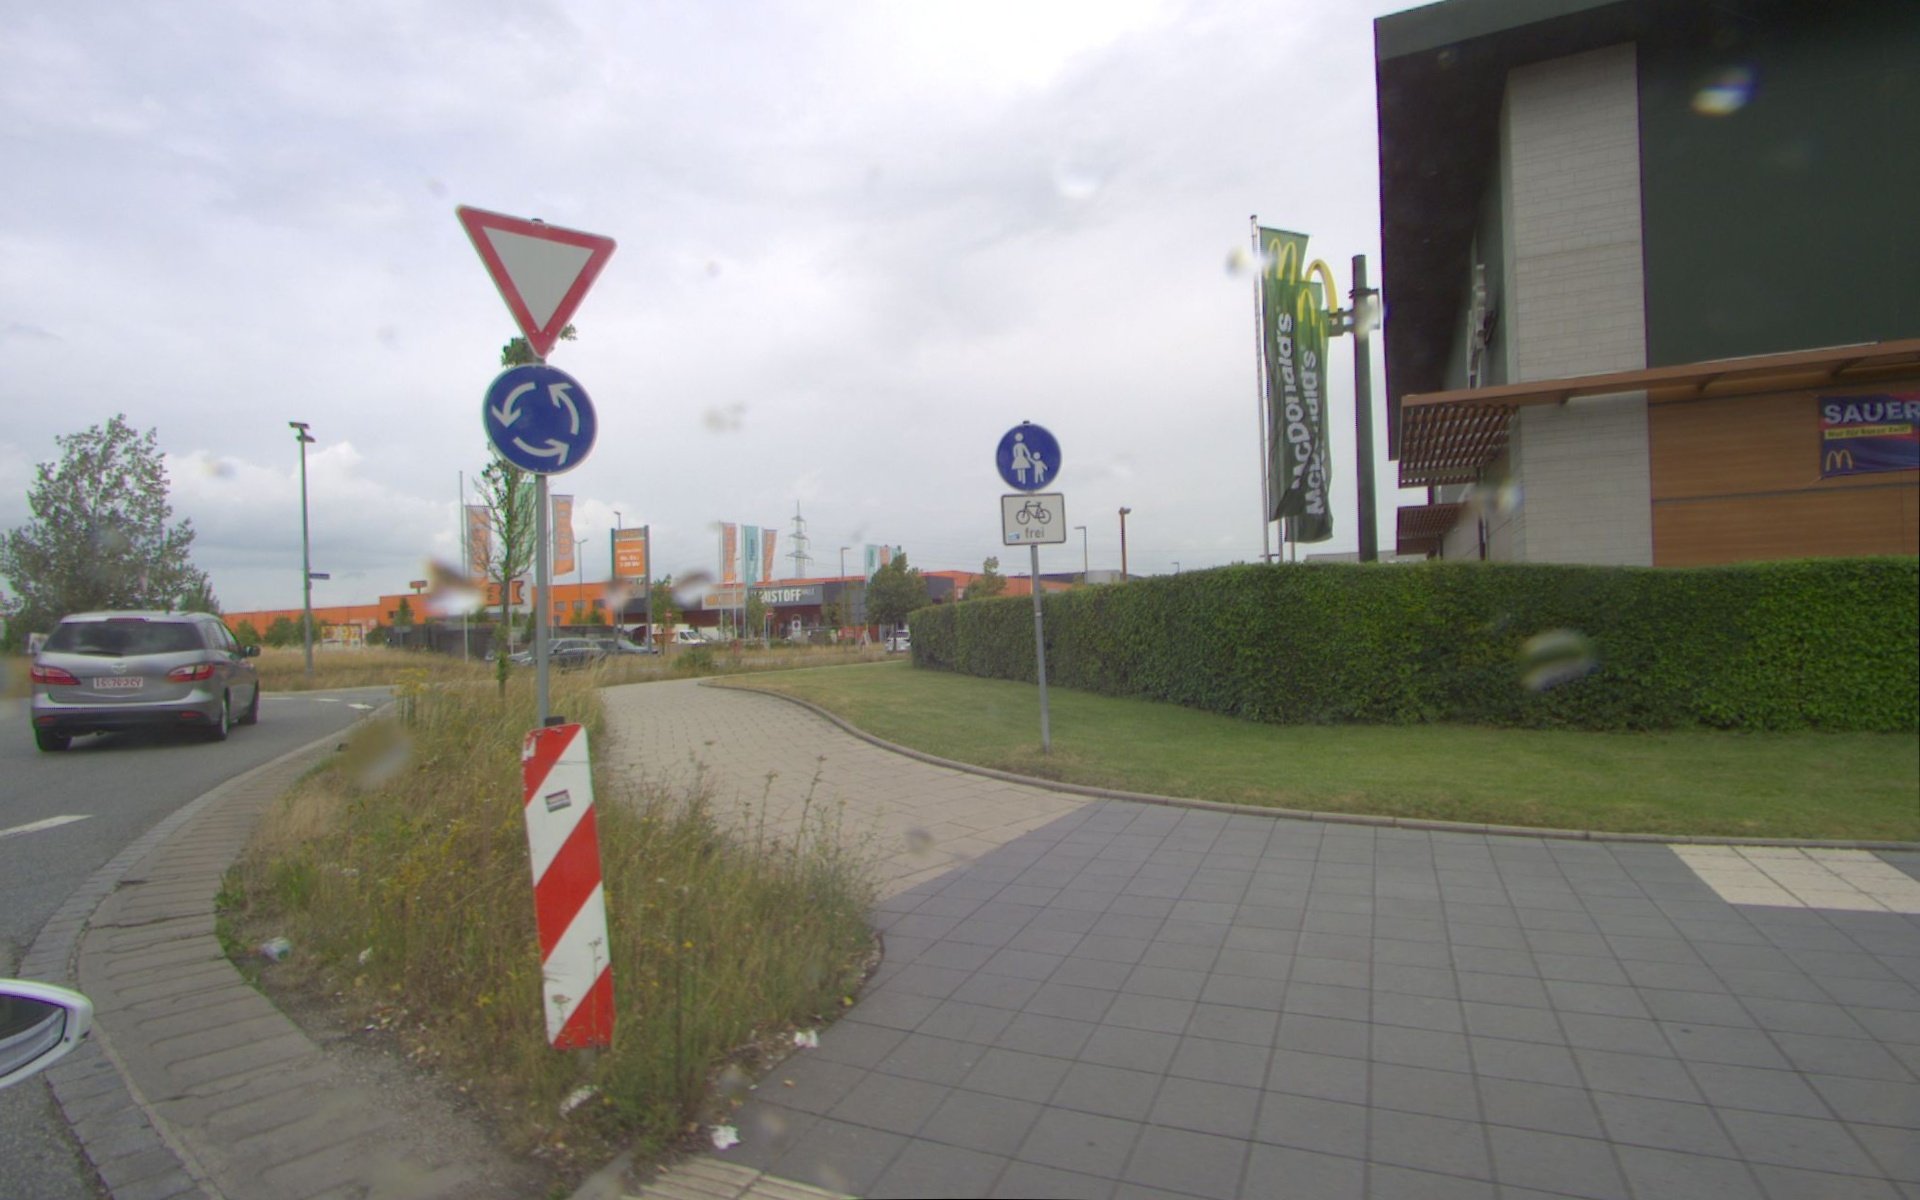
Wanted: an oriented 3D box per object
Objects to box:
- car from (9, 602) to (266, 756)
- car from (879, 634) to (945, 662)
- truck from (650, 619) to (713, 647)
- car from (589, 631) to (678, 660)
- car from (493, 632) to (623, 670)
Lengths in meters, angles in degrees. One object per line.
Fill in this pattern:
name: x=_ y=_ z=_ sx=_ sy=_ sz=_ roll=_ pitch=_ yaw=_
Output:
car: x=-10.282 y=0.878 z=12.858 sx=1.718 sy=1.619 sz=3.979 roll=2 pitch=-1 yaw=-27
car: x=-2.694 y=2.697 z=56.749 sx=1.787 sy=1.483 sz=3.980 roll=1 pitch=-1 yaw=32
truck: x=-27.582 y=3.290 z=99.248 sx=5.451 sy=2.514 sz=2.439 roll=-3 pitch=-3 yaw=16
car: x=-19.340 y=2.728 z=59.457 sx=4.591 sy=1.525 sz=2.002 roll=-2 pitch=-3 yaw=1
car: x=-15.907 y=2.036 z=39.901 sx=1.900 sy=1.421 sz=4.669 roll=-2 pitch=-3 yaw=29
